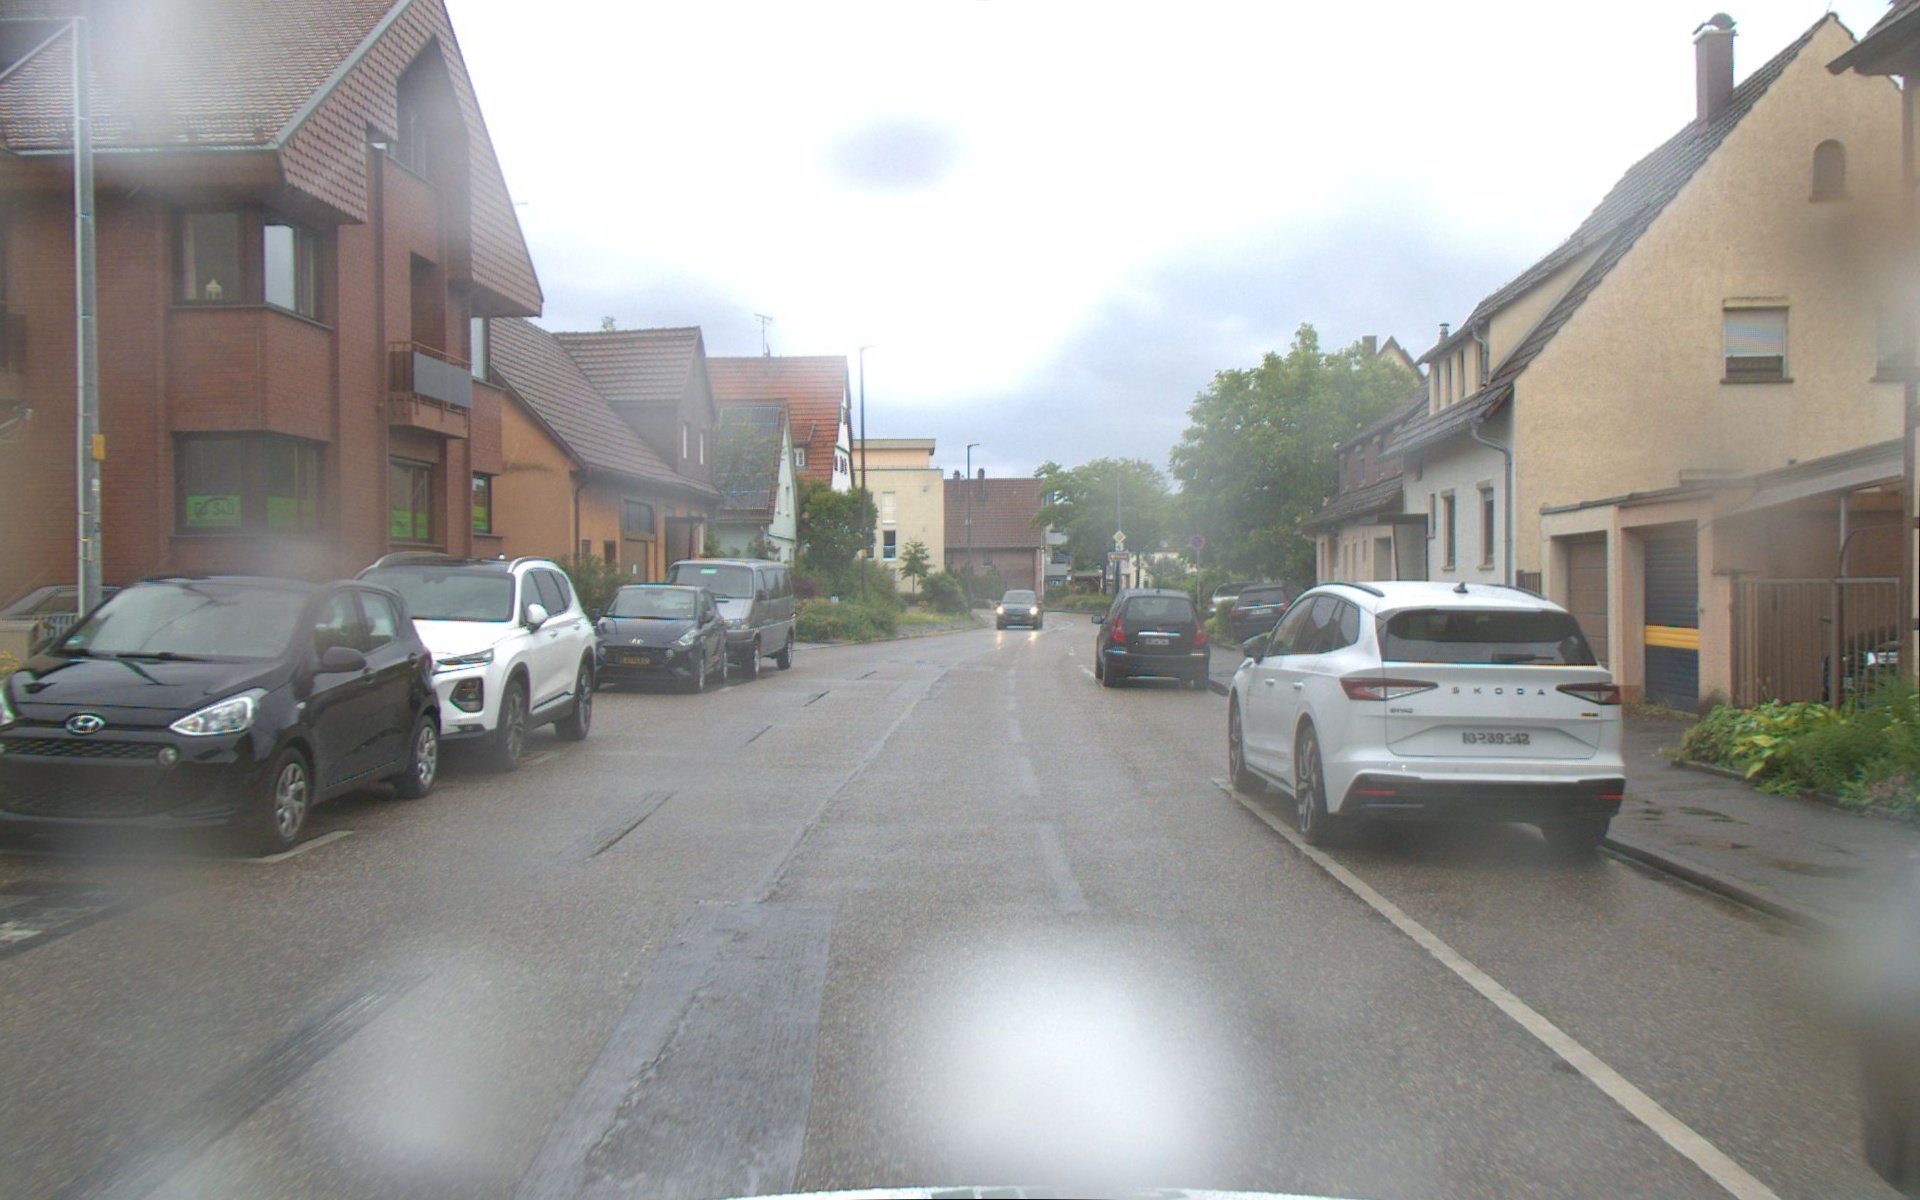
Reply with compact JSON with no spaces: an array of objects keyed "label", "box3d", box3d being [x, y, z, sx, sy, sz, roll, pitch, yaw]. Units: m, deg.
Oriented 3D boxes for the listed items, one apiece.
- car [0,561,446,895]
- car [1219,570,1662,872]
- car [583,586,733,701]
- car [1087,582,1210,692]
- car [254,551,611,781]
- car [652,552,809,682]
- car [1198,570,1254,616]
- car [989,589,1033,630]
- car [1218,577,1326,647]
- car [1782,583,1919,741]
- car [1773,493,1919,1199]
[{"label":"car","box3d":[-4.374,0.637,9.843,1.572,1.646,3.276,-1,0,0]},{"label":"car","box3d":[3.014,0.663,11.436,1.765,1.623,4.612,1,0,1]},{"label":"car","box3d":[-4.296,0.582,23.997,1.546,1.523,3.566,-1,0,-1]},{"label":"car","box3d":[3.174,0.589,28.470,1.713,1.740,4.000,-1,0,1]},{"label":"car","box3d":[-4.324,0.479,14.357,1.729,1.647,4.654,-1,0,-2]},{"label":"car","box3d":[-3.891,0.267,28.886,1.783,2.049,5.216,-1,0,2]},{"label":"car","box3d":[8.806,-0.231,54.908,1.603,1.455,3.679,-1,0,6]},{"label":"car","box3d":[2.164,0.404,70.494,1.760,1.669,4.001,1,0,2]},{"label":"car","box3d":[7.790,0.267,41.067,1.724,1.417,4.000,-7,-1,23]},{"label":"car","box3d":[10.597,0.546,16.529,3.833,1.483,1.808,-2,0,4]},{"label":"car","box3d":[2.932,0.678,1.739,1.869,1.747,4.555,2,0,0]}]
